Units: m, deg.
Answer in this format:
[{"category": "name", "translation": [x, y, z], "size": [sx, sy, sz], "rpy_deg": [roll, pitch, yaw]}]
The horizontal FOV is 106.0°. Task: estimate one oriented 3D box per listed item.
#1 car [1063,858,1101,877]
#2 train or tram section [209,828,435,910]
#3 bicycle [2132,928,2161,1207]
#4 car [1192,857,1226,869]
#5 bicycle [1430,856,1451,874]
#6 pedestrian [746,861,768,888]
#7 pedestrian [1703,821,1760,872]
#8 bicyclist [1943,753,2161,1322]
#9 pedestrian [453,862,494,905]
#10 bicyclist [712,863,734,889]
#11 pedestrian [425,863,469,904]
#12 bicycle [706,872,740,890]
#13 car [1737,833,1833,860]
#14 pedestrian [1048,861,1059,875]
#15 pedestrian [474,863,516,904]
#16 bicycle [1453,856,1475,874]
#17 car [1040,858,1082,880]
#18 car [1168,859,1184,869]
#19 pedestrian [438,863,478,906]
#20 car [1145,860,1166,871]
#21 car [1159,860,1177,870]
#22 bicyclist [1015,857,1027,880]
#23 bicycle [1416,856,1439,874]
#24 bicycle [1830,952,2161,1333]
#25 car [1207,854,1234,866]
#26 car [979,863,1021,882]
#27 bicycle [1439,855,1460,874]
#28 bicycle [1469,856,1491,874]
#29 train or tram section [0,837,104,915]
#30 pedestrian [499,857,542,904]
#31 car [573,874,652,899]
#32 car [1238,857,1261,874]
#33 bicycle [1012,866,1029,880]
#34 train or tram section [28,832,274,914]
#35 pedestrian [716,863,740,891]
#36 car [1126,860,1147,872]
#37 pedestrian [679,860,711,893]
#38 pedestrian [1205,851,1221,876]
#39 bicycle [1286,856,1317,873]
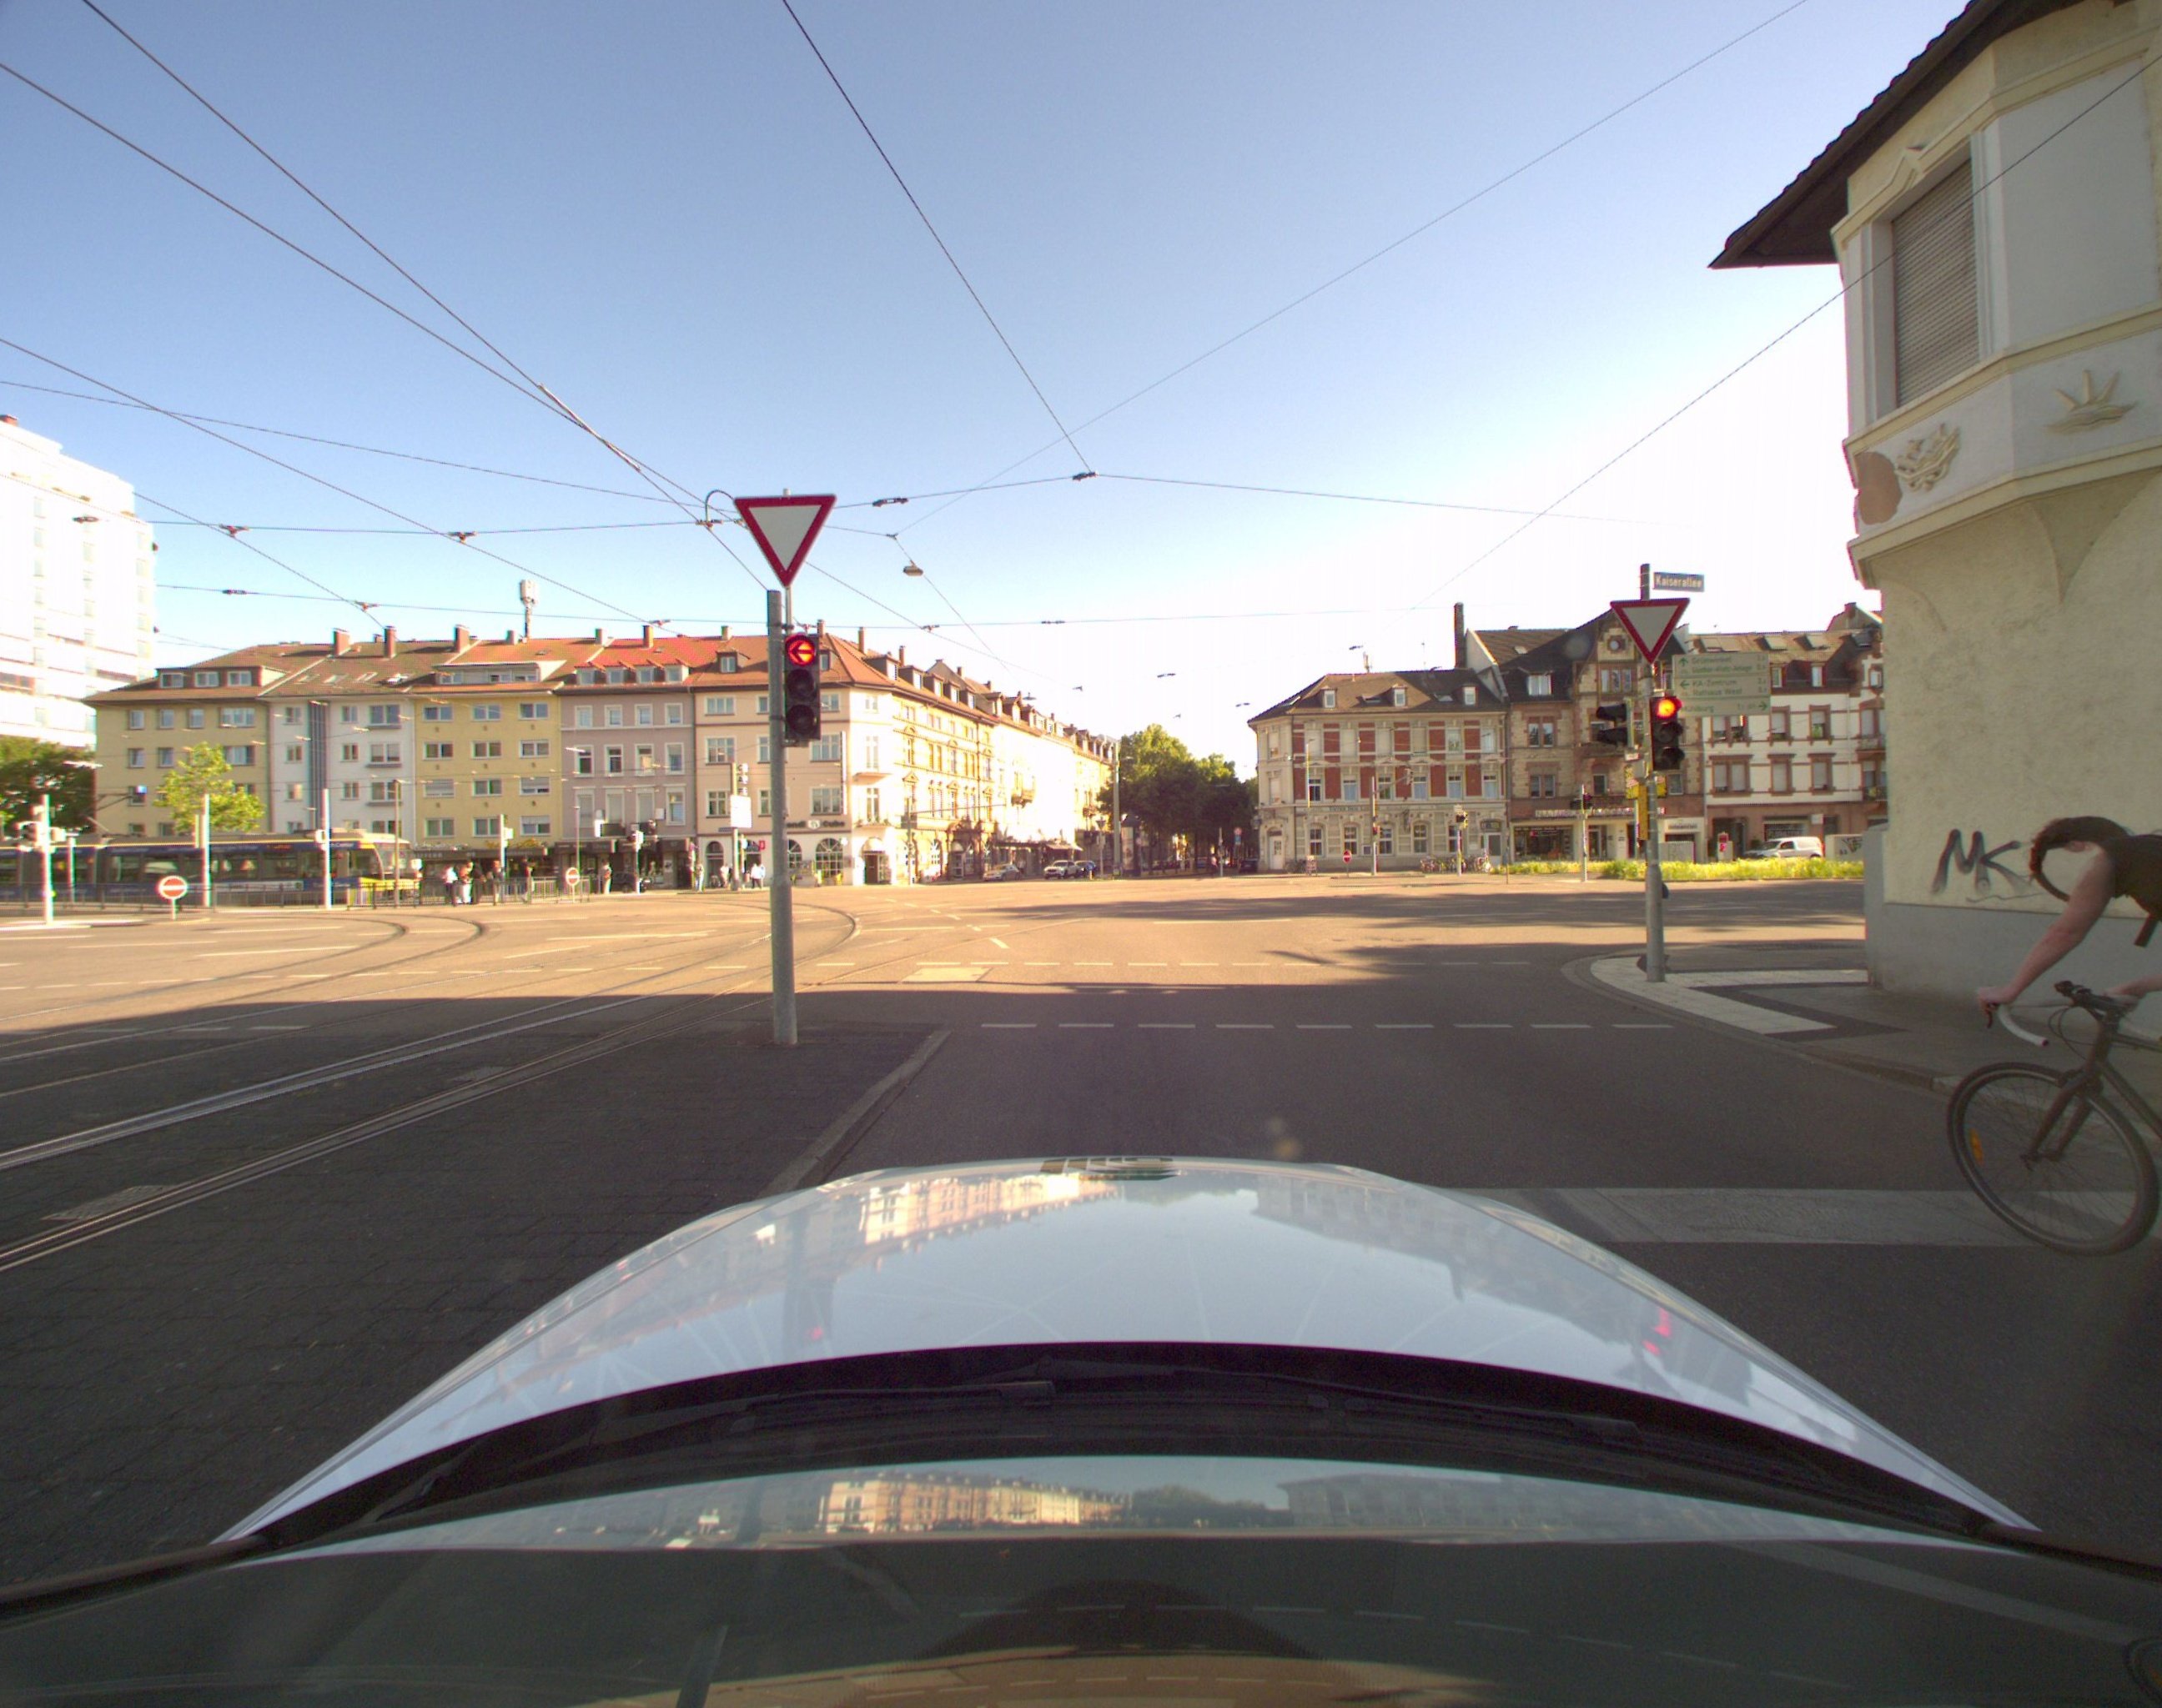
[{"category": "car", "translation": [0.122, 1.222, 74.001], "size": [1.977, 1.612, 4.413], "rpy_deg": [-2, 0, 20]}, {"category": "train or tram section", "translation": [-35.174, 0.674, 37.930], "size": [7.906, 3.500, 2.825], "rpy_deg": [-1, 0, 2]}, {"category": "bicycle", "translation": [4.535, 0.857, 2.430], "size": [0.516, 1.116, 1.815], "rpy_deg": [-2, 0, 4]}, {"category": "car", "translation": [18.087, 1.316, 115.045], "size": [4.335, 1.612, 2.012], "rpy_deg": [-2, 0, 28]}, {"category": "bicycle", "translation": [23.282, 0.695, 52.821], "size": [0.615, 1.143, 2.178], "rpy_deg": [-2, 0, 7]}, {"category": "pedestrian", "translation": [-21.565, 1.371, 54.141], "size": [0.929, 1.775, 1.016], "rpy_deg": [-2, -1, 42]}, {"category": "pedestrian", "translation": [27.115, -0.304, 33.983], "size": [1.314, 2.044, 1.307], "rpy_deg": [-2, 0, 1]}, {"category": "bicyclist", "translation": [3.599, 0.561, 2.578], "size": [0.559, 1.754, 1.102], "rpy_deg": [-2, 0, 4]}, {"category": "pedestrian", "translation": [-23.166, 1.121, 31.046], "size": [0.996, 1.598, 0.947], "rpy_deg": [-2, 0, 34]}, {"category": "bicyclist", "translation": [-25.180, 1.525, 57.245], "size": [1.161, 1.775, 0.748], "rpy_deg": [-1, 0, 0]}, {"category": "pedestrian", "translation": [-25.302, 1.182, 32.502], "size": [0.998, 1.598, 0.946], "rpy_deg": [-2, 0, 18]}, {"category": "bicycle", "translation": [-25.072, 1.885, 57.012], "size": [2.083, 1.181, 0.631], "rpy_deg": [-1, 0, 1]}, {"category": "car", "translation": [45.362, -0.476, 52.537], "size": [4.317, 1.640, 2.152], "rpy_deg": [-2, 0, 1]}, {"category": "pedestrian", "translation": [-2.991, 1.508, 88.368], "size": [0.921, 1.535, 1.142], "rpy_deg": [-2, 0, 16]}, {"category": "pedestrian", "translation": [-23.237, 1.165, 32.291], "size": [0.997, 1.598, 0.946], "rpy_deg": [-2, 0, 22]}, {"category": "bicycle", "translation": [24.782, 0.714, 52.673], "size": [0.615, 1.143, 2.178], "rpy_deg": [-2, 0, 7]}, {"category": "car", "translation": [-1.603, 1.254, 67.524], "size": [1.977, 1.684, 4.413], "rpy_deg": [-2, 0, 20]}, {"category": "car", "translation": [15.840, 1.729, 136.151], "size": [1.750, 1.549, 4.411], "rpy_deg": [-2, 0, 18]}, {"category": "pedestrian", "translation": [-24.140, 1.165, 31.570], "size": [0.996, 1.598, 0.947], "rpy_deg": [-2, 0, 34]}, {"category": "car", "translation": [11.263, 1.739, 122.585], "size": [1.977, 1.612, 4.413], "rpy_deg": [-2, 0, 20]}, {"category": "car", "translation": [13.922, 1.709, 130.317], "size": [1.822, 1.552, 4.412], "rpy_deg": [-2, 0, 19]}, {"category": "bicyclist", "translation": [-4.808, 1.135, 65.324], "size": [0.674, 1.820, 1.075], "rpy_deg": [-2, 0, 14]}, {"category": "bicycle", "translation": [22.503, 0.704, 52.970], "size": [0.802, 1.143, 2.178], "rpy_deg": [-2, 0, 7]}, {"category": "bicycle", "translation": [3.614, 0.948, 2.655], "size": [0.642, 1.010, 1.930], "rpy_deg": [-2, 0, 4]}, {"category": "car", "translation": [22.840, 0.979, 133.286], "size": [3.948, 1.706, 2.013], "rpy_deg": [-2, 0, 32]}, {"category": "car", "translation": [-6.679, 1.525, 67.366], "size": [1.883, 1.455, 4.020], "rpy_deg": [-2, 0, 20]}, {"category": "bicycle", "translation": [23.861, 0.675, 52.768], "size": [0.615, 1.143, 2.178], "rpy_deg": [-2, 0, 7]}, {"category": "bicycle", "translation": [25.759, 0.693, 52.583], "size": [0.606, 1.136, 2.139], "rpy_deg": [-2, 0, 7]}, {"category": "train or tram section", "translation": [-53.498, 1.121, 38.117], "size": [11.953, 3.500, 2.779], "rpy_deg": [-1, 0, -1]}, {"category": "pedestrian", "translation": [-21.889, 1.036, 31.809], "size": [0.997, 1.775, 0.946], "rpy_deg": [-2, 0, 23]}, {"category": "car", "translation": [-30.616, 2.142, 53.323], "size": [3.974, 1.453, 2.000], "rpy_deg": [-1, 0, -1]}, {"category": "car", "translation": [17.021, 1.146, 82.200], "size": [1.978, 1.585, 4.017], "rpy_deg": [-2, 0, 16]}, {"category": "bicycle", "translation": [-4.812, 1.515, 65.281], "size": [0.675, 1.066, 2.133], "rpy_deg": [-2, 0, 14]}, {"category": "train or tram section", "translation": [-43.318, 0.861, 38.101], "size": [8.401, 3.500, 2.825], "rpy_deg": [-1, 0, 2]}, {"category": "pedestrian", "translation": [-23.000, 1.506, 53.089], "size": [0.998, 1.775, 0.945], "rpy_deg": [-2, 0, 16]}, {"category": "car", "translation": [7.541, 1.675, 110.965], "size": [1.978, 1.486, 4.017], "rpy_deg": [-1, 0, 16]}, {"category": "pedestrian", "translation": [-20.125, 1.154, 42.450], "size": [1.076, 1.685, 1.104], "rpy_deg": [-2, 0, 1]}, {"category": "pedestrian", "translation": [9.269, 0.669, 57.320], "size": [1.040, 1.744, 0.810], "rpy_deg": [-1, 0, 8]}, {"category": "bicycle", "translation": [15.503, 0.727, 57.174], "size": [2.081, 1.124, 0.366], "rpy_deg": [0, -1, -3]}]
